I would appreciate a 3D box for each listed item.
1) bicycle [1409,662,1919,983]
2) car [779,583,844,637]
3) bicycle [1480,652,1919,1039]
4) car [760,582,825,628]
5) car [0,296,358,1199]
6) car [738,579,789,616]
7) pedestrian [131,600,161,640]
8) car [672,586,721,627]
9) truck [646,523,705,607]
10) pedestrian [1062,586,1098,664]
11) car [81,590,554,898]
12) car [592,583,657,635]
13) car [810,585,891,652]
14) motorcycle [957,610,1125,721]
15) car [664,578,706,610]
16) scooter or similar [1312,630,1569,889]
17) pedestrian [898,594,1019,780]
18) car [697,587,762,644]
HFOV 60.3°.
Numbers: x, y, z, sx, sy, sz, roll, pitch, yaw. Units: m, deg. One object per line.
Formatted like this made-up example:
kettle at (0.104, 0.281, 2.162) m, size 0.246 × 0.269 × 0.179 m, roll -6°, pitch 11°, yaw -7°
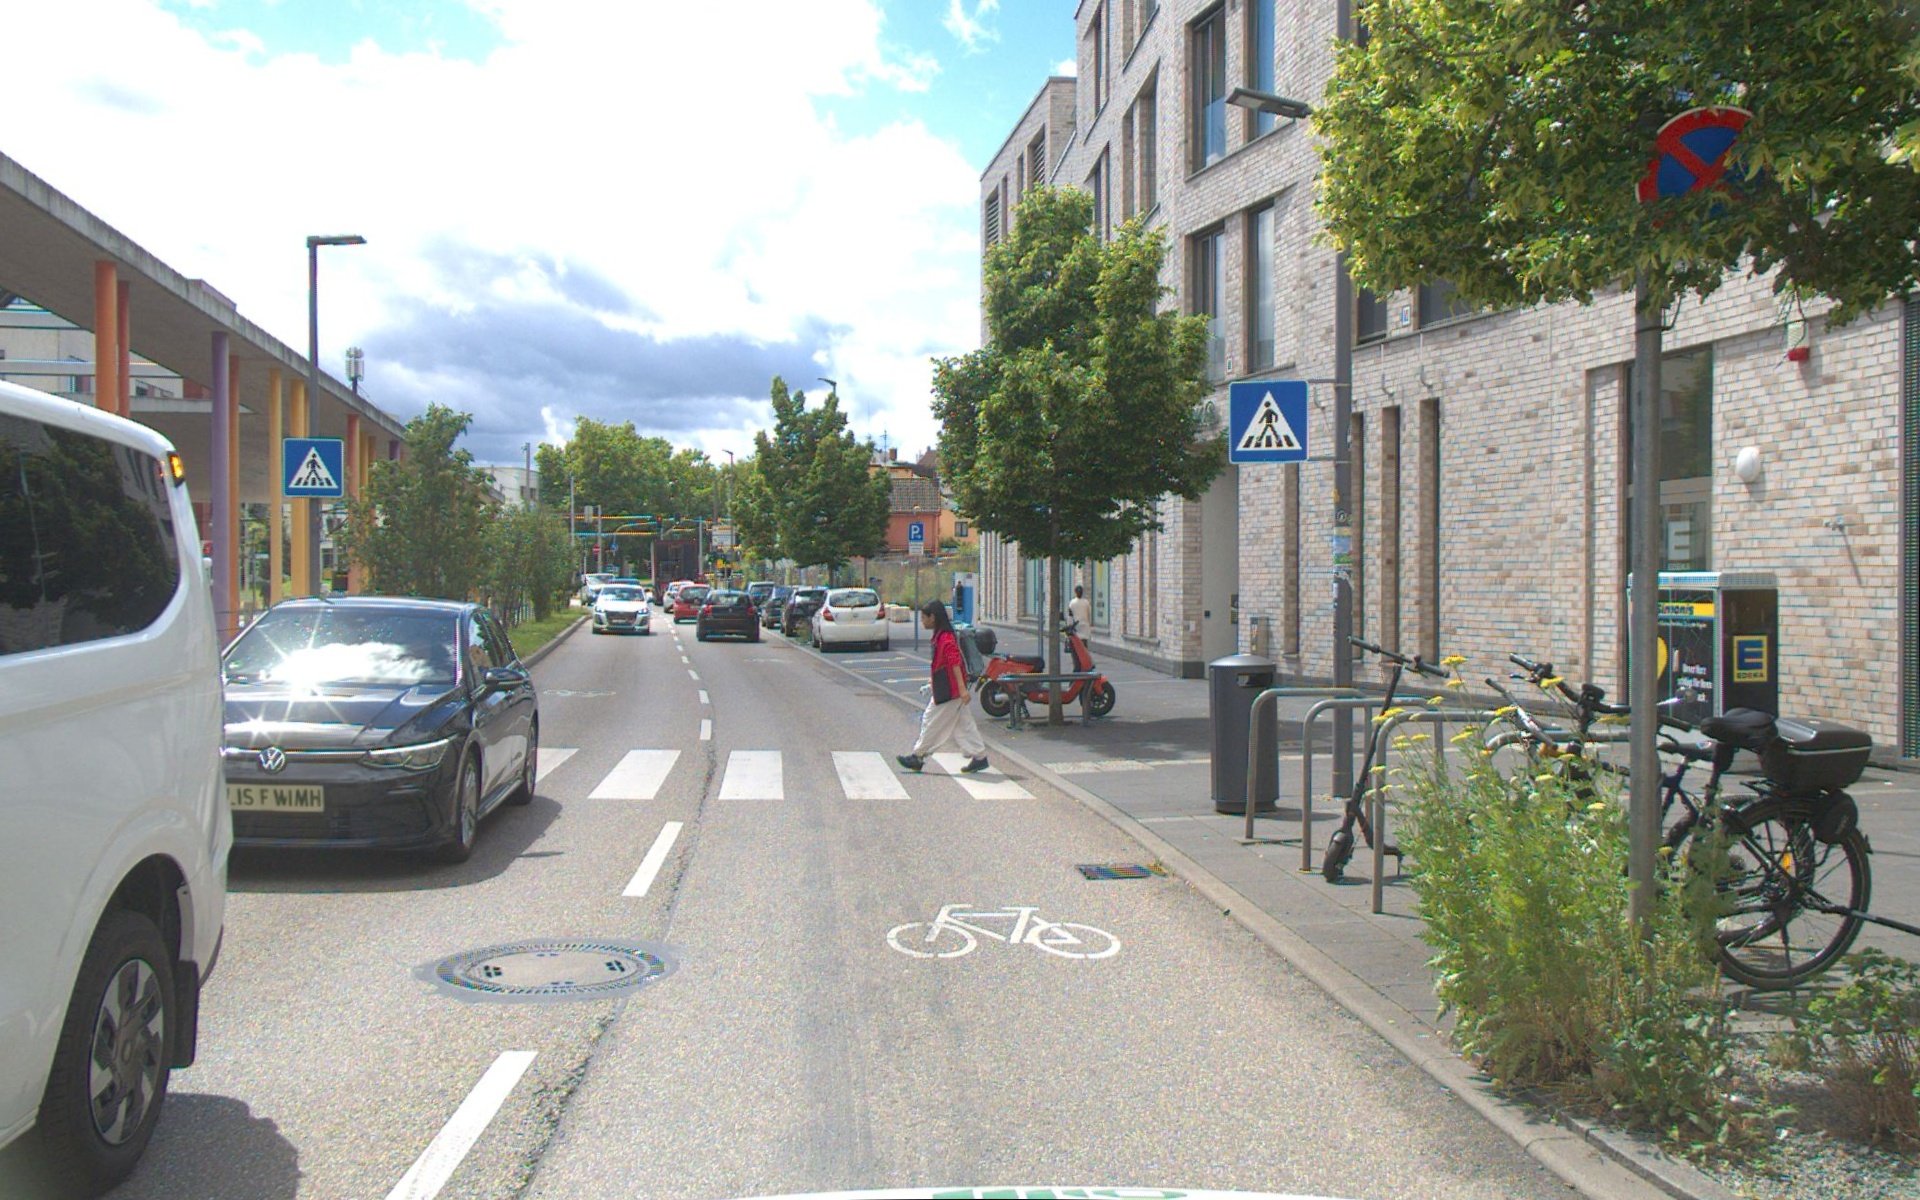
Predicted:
bicycle at (2.840, 0.862, 6.731) m, size 1.786 × 1.151 × 0.756 m, roll -1°, pitch 0°, yaw -4°
car at (-4.542, 0.268, 50.248) m, size 1.661 × 1.486 × 4.138 m, roll -2°, pitch 1°, yaw -9°
bicycle at (2.894, 0.829, 5.937) m, size 1.786 × 1.222 × 0.756 m, roll -1°, pitch 0°, yaw -4°
car at (-5.797, 0.134, 56.883) m, size 1.831 × 1.476 × 4.632 m, roll -2°, pitch 1°, yaw -10°
car at (-2.763, 0.427, 2.646) m, size 1.954 × 2.049 × 5.389 m, roll 2°, pitch 0°, yaw -5°
car at (-8.500, -0.124, 71.183) m, size 1.751 × 1.477 × 4.462 m, roll -2°, pitch 1°, yaw -12°
pedestrian at (-29.626, 0.724, 60.196) m, size 0.807 × 1.403 × 0.700 m, roll 1°, pitch 1°, yaw -10°
car at (-10.007, 0.231, 62.674) m, size 1.681 × 1.417 × 3.798 m, roll -1°, pitch 1°, yaw -11°
truck at (-16.884, -1.945, 97.742) m, size 3.146 × 4.615 × 9.003 m, roll 1°, pitch -1°, yaw -11°
pedestrian at (2.358, 0.487, 32.516) m, size 0.595 × 1.498 × 0.790 m, roll -1°, pitch 1°, yaw -3°
car at (-3.649, 0.701, 10.213) m, size 1.739 × 1.489 × 4.227 m, roll 1°, pitch 0°, yaw -8°
car at (-10.117, 0.247, 50.108) m, size 1.778 × 1.494 × 3.899 m, roll 1°, pitch 0°, yaw -10°
car at (-2.765, 0.420, 41.085) m, size 1.661 × 1.509 × 3.790 m, roll -2°, pitch 1°, yaw -9°
motorcycle at (1.016, 0.807, 20.560) m, size 2.007 × 1.288 × 0.673 m, roll -2°, pitch -1°, yaw 7°
car at (-13.605, -0.281, 81.614) m, size 1.855 × 1.491 × 4.057 m, roll -1°, pitch 0°, yaw -12°
scooter or similar at (2.493, 0.809, 8.638) m, size 1.172 × 1.271 × 0.493 m, roll -1°, pitch 0°, yaw -4°
pedestrian at (-0.025, 0.763, 14.679) m, size 0.911 × 1.593 × 0.812 m, roll 1°, pitch -2°, yaw -12°
car at (-6.555, 0.407, 46.776) m, size 1.695 × 1.482 × 3.800 m, roll -1°, pitch 1°, yaw -10°
